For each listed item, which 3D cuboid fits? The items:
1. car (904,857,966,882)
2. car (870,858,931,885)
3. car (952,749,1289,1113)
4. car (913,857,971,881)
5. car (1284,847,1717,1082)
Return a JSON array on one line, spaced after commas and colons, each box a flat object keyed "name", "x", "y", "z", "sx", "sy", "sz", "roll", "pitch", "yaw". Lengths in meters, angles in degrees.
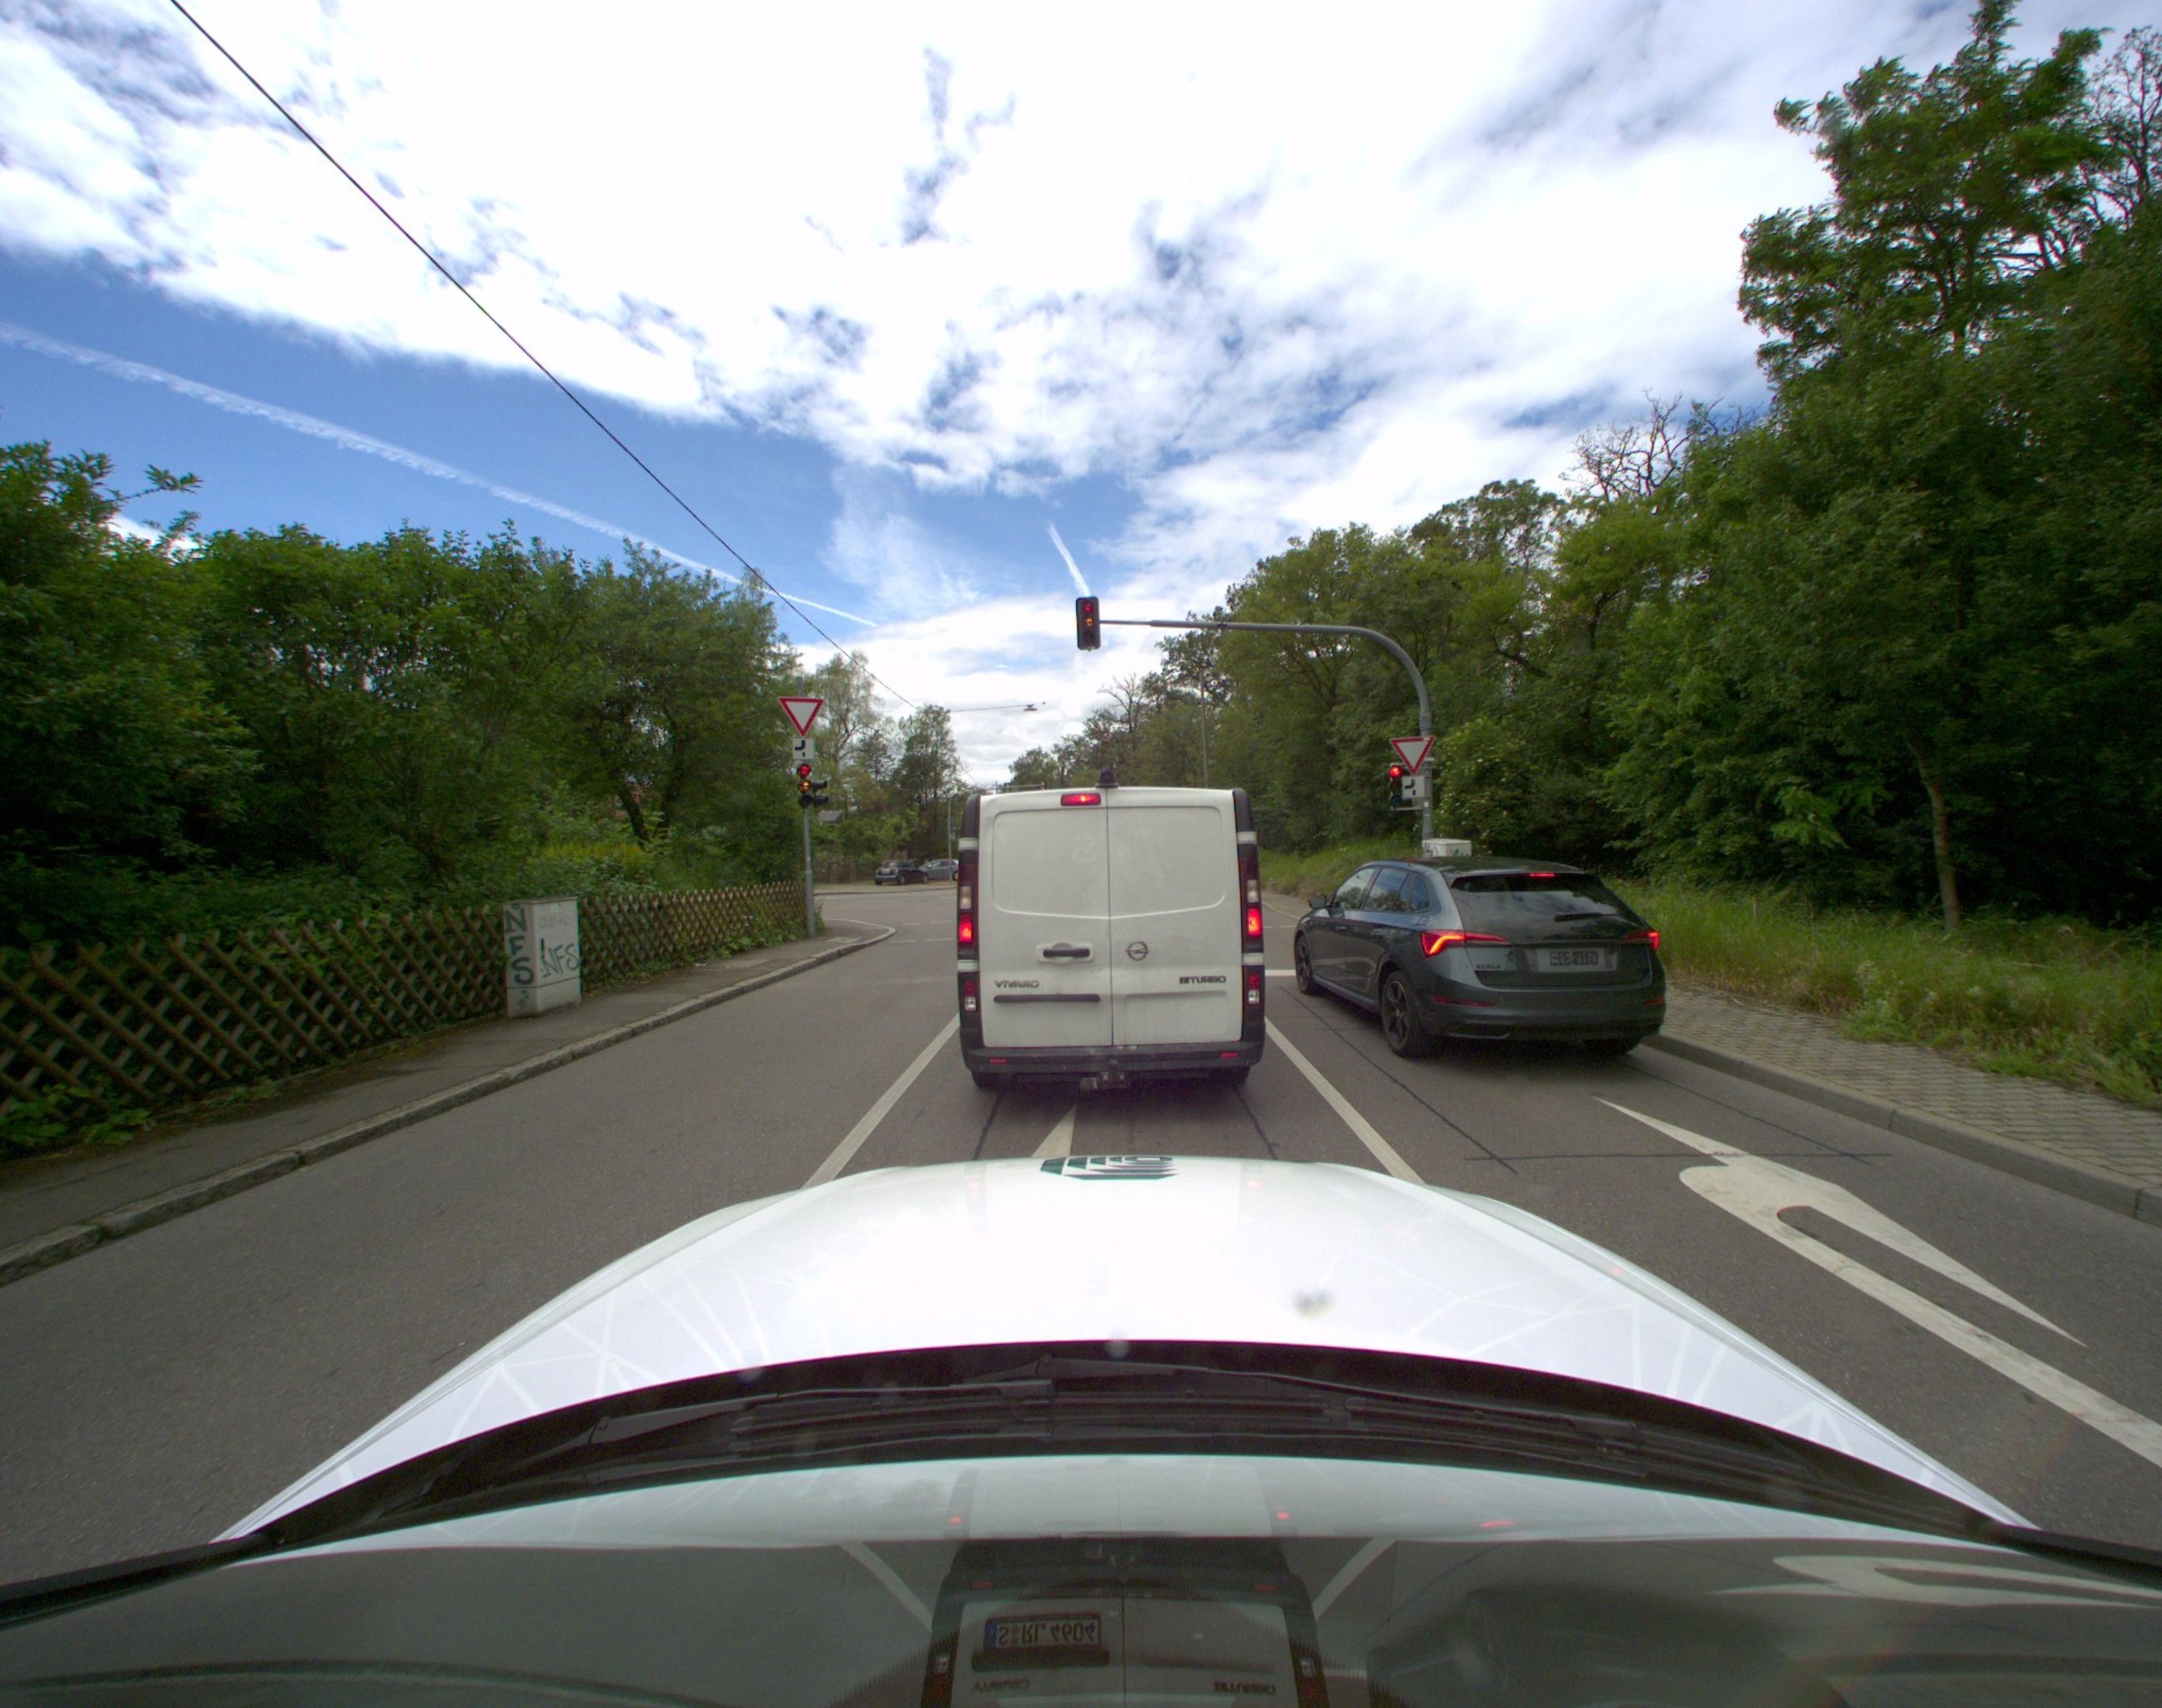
[{"name": "car", "x": -10.212, "y": 1.077, "z": 56.741, "sx": 4.094, "sy": 1.553, "sz": 1.845, "roll": -2, "pitch": 1, "yaw": -16}, {"name": "car", "x": -10.250, "y": 0.965, "z": 46.443, "sx": 1.683, "sy": 1.449, "sz": 3.562, "roll": 1, "pitch": 0, "yaw": 22}, {"name": "car", "x": 0.218, "y": 0.429, "z": 6.914, "sx": 1.910, "sy": 2.053, "sz": 4.613, "roll": 0, "pitch": 0, "yaw": 0}, {"name": "car", "x": -10.224, "y": 1.068, "z": 59.831, "sx": 4.094, "sy": 1.553, "sz": 1.845, "roll": -2, "pitch": 1, "yaw": -16}, {"name": "car", "x": 3.177, "y": 0.698, "z": 7.200, "sx": 1.786, "sy": 1.450, "sz": 4.000, "roll": -1, "pitch": 0, "yaw": 1}]
